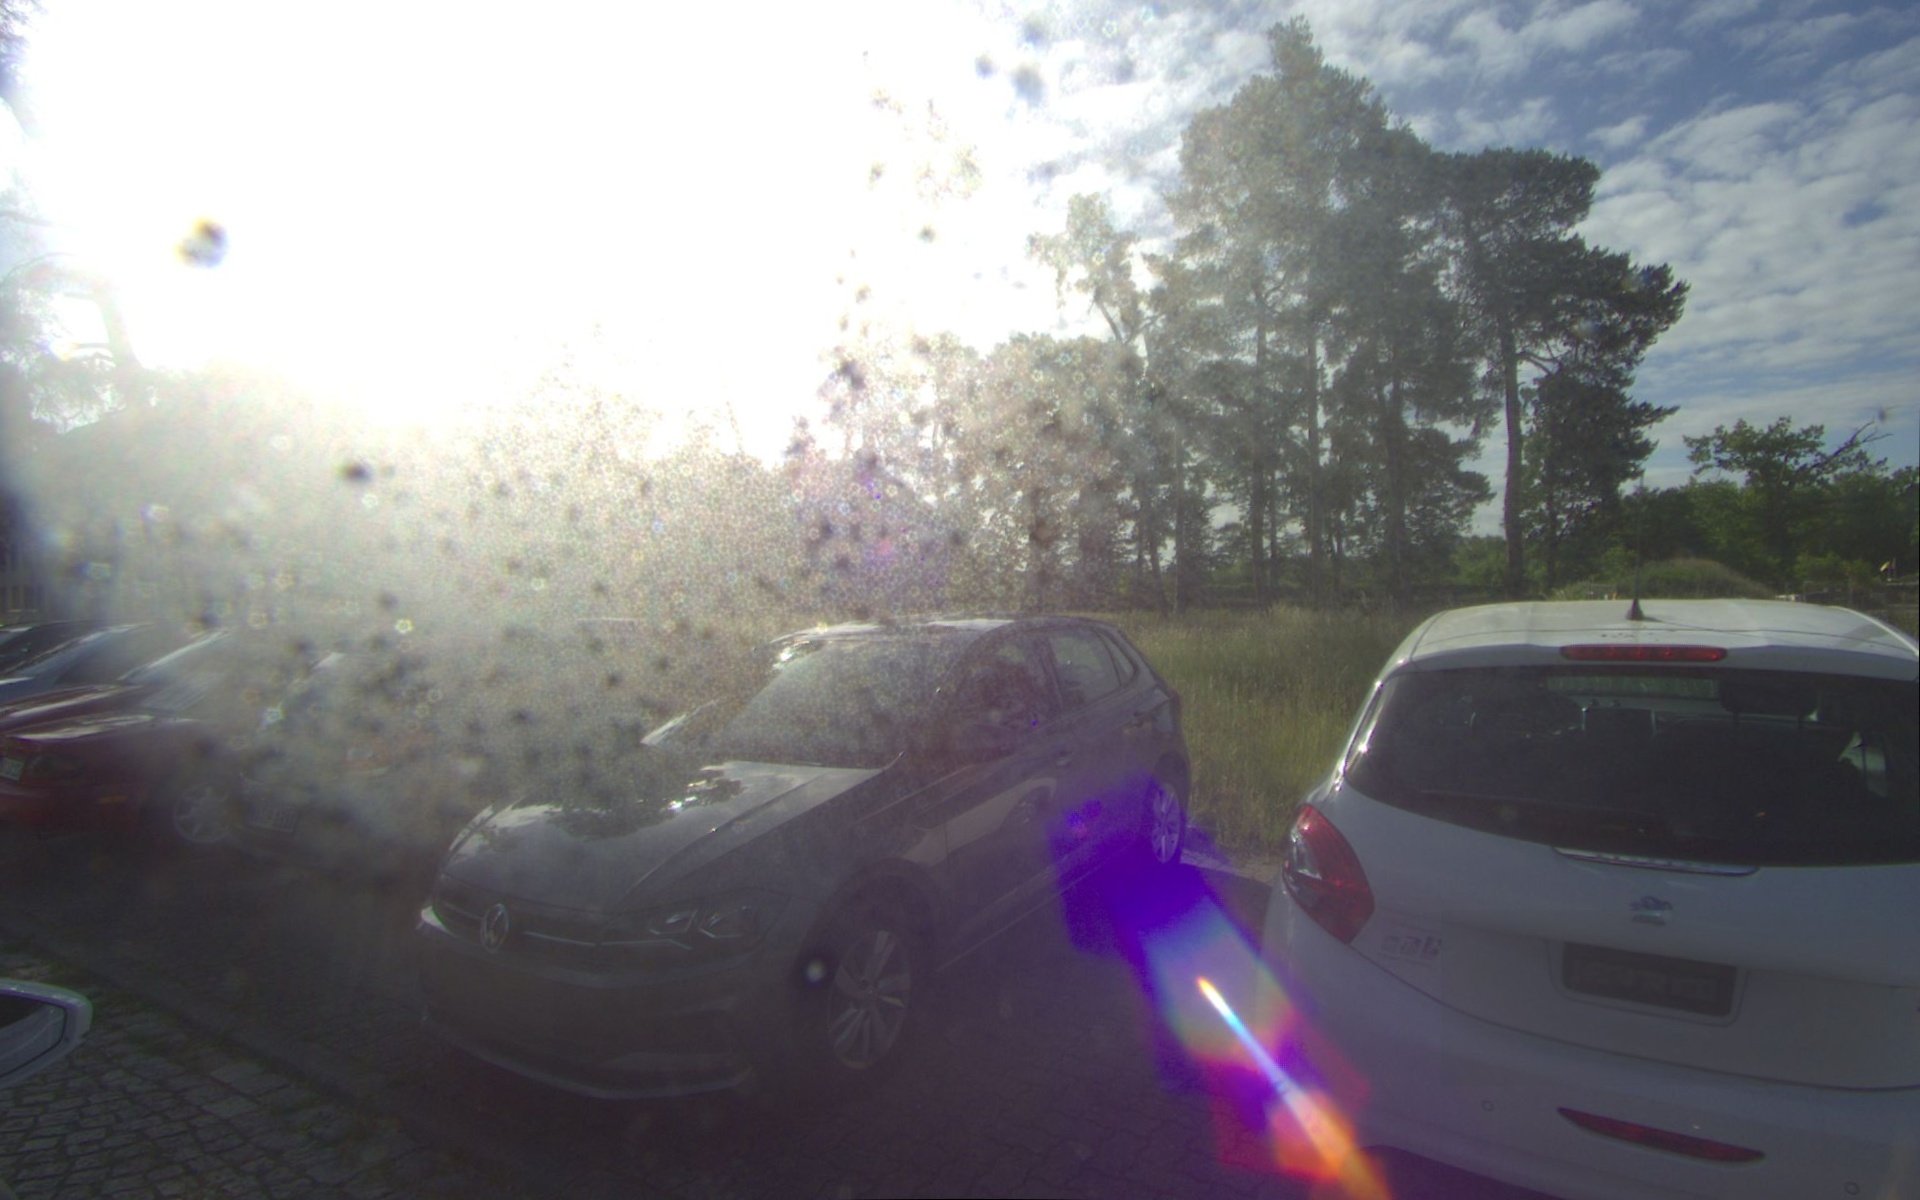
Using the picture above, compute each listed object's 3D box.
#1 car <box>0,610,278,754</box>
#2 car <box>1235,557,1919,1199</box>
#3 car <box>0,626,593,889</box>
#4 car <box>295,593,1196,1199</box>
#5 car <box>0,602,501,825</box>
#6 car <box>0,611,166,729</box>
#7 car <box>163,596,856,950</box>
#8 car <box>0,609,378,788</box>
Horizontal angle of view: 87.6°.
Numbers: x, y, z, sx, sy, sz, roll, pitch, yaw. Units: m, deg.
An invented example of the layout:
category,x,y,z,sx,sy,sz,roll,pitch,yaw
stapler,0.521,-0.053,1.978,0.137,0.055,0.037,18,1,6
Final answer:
category,x,y,z,sx,sy,sz,roll,pitch,yaw
car,-10.773,0.929,11.515,1.613,1.434,4.547,0,2,32
car,2.419,0.645,3.626,1.736,1.555,3.697,0,2,33
car,-4.889,0.923,7.542,1.721,1.240,3.697,0,2,33
car,-0.465,0.759,4.448,1.830,1.469,3.697,0,2,33
car,-6.596,0.826,9.160,1.613,1.469,4.117,0,2,32
car,-13.006,0.935,13.002,1.613,1.434,3.872,0,2,32
car,-2.529,0.769,6.481,1.790,1.469,3.698,0,2,32
car,-8.560,0.892,10.005,1.755,1.434,4.420,0,2,32
